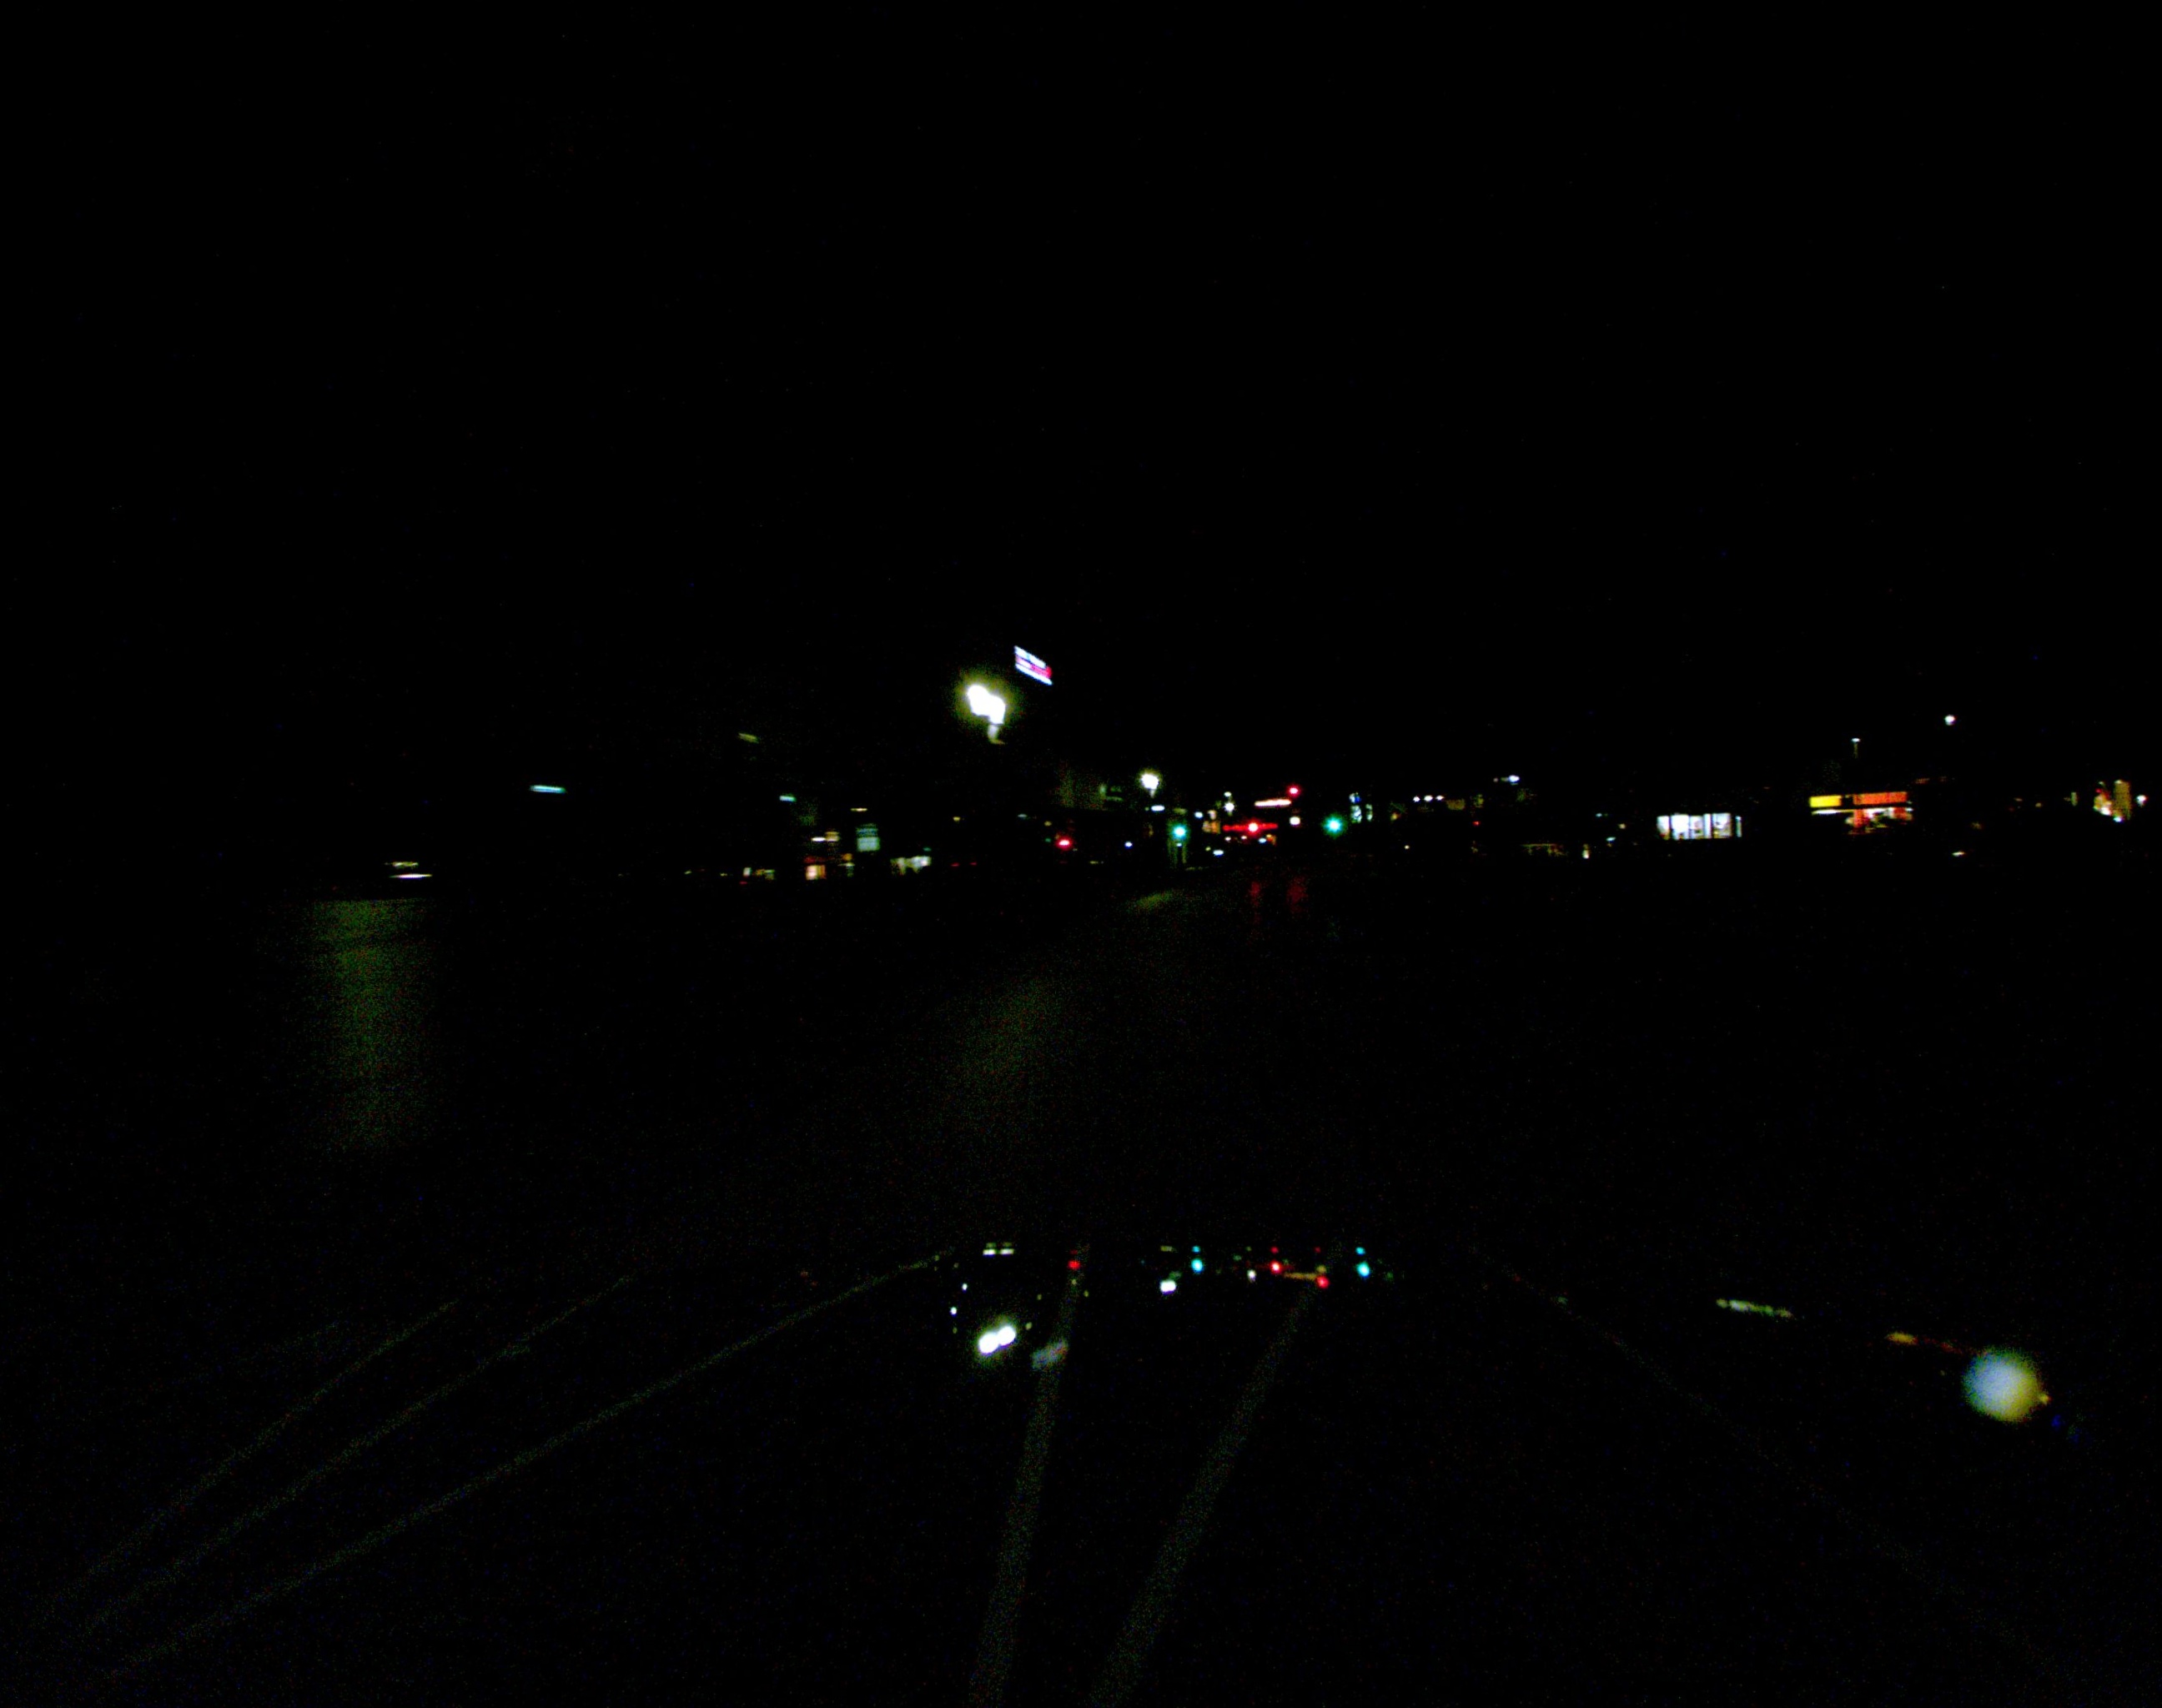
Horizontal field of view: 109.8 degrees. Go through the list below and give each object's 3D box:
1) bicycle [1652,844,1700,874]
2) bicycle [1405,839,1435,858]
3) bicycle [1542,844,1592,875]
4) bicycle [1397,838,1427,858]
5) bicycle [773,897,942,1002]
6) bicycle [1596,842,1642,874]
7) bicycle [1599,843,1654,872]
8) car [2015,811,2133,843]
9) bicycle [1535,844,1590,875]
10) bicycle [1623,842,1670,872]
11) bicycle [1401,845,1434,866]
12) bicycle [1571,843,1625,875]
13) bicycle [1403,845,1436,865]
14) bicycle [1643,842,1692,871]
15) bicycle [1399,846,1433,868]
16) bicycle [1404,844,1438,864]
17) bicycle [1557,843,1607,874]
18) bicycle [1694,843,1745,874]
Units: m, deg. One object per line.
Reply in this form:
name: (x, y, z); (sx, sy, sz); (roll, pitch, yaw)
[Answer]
bicycle: (23.737, 0.183, 30.344); (0.608, 1.159, 1.747); (-1, 0, 3)
bicycle: (23.843, -0.395, 53.503); (1.835, 1.150, 0.788); (-5, 1, 25)
bicycle: (18.977, 0.209, 29.702); (0.545, 1.148, 1.745); (-1, 0, -12)
bicycle: (22.446, -0.411, 51.508); (1.736, 1.159, 0.788); (-5, 0, 25)
bicycle: (-2.569, 1.090, 8.878); (1.754, 1.056, 0.655); (-3, 0, -4)
bicycle: (20.533, 0.159, 29.039); (0.608, 1.159, 1.747); (-1, 0, 3)
bicycle: (21.355, 0.137, 29.786); (0.609, 1.063, 1.745); (-1, 0, -15)
car: (66.453, -1.760, 50.945); (4.406, 1.925, 1.964); (-1, 0, 35)
bicycle: (18.393, 0.212, 29.043); (0.761, 1.155, 1.745); (-1, 0, -12)
bicycle: (22.236, 0.109, 29.931); (0.608, 1.118, 1.747); (-1, 0, 3)
bicycle: (18.861, 0.088, 42.661); (1.618, 1.099, 0.671); (-3, 2, 20)
bicycle: (19.645, 0.184, 28.896); (0.609, 1.159, 1.745); (-1, 0, -12)
bicycle: (19.282, 0.056, 43.308); (1.618, 1.099, 0.671); (-2, 2, 20)
bicycle: (22.930, 0.102, 29.749); (0.608, 1.094, 1.747); (-1, 0, 3)
bicycle: (18.263, 0.152, 41.490); (1.618, 1.099, 0.671); (-2, 2, 20)
bicycle: (20.196, -0.003, 45.176); (1.771, 1.157, 0.671); (-2, 1, 20)
bicycle: (19.972, 0.185, 30.342); (0.609, 1.159, 1.745); (-1, 0, -12)
bicycle: (25.663, 0.168, 30.577); (0.608, 1.211, 1.747); (-1, 0, 3)
